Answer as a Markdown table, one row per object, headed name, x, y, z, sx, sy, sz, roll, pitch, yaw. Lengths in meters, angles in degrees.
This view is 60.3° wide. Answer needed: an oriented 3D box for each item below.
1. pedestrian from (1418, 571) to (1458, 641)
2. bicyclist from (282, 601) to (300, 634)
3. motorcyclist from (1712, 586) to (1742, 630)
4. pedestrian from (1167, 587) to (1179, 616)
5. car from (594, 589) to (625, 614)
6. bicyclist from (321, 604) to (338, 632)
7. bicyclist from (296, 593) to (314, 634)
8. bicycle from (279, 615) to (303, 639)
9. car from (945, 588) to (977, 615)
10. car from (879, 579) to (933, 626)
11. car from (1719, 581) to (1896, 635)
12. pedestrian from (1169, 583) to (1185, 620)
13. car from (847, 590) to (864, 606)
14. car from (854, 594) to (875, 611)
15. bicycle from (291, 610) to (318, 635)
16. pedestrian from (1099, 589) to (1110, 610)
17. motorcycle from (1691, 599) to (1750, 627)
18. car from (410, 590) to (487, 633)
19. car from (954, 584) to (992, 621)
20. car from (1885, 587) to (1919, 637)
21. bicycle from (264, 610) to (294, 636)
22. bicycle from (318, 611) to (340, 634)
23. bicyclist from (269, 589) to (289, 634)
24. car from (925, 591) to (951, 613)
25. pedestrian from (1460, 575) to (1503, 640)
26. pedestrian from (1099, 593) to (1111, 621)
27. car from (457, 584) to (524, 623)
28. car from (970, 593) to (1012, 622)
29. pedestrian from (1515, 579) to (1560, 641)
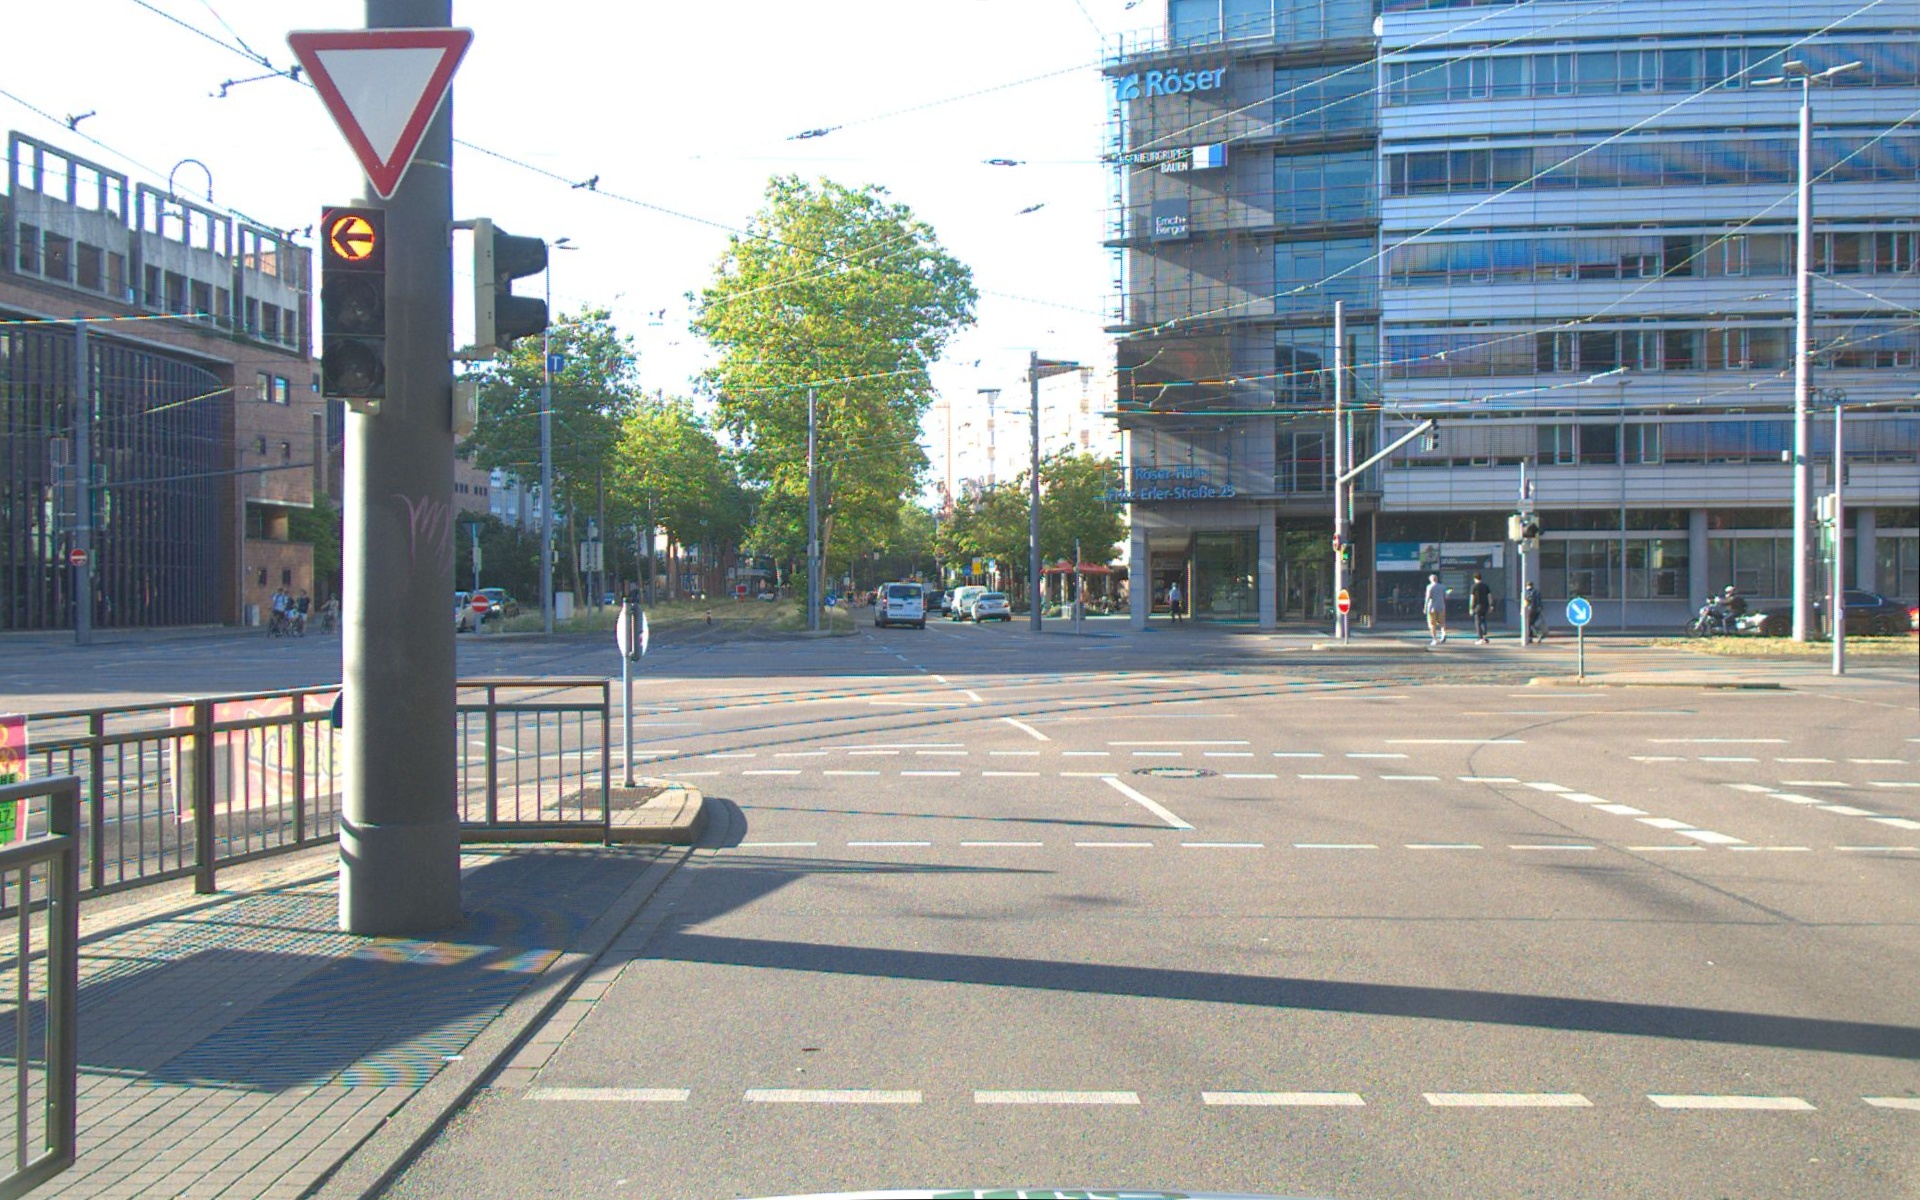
| name | x | y | z | sx | sy | sz | roll | pitch | yaw |
| --- | --- | --- | --- | --- | --- | --- | --- | --- | --- |
| pedestrian | 12.661 | 0.152 | 43.837 | 0.845 | 1.820 | 0.872 | -1 | 0 | 5 |
| bicyclist | -27.642 | 0.720 | 68.345 | 0.495 | 1.327 | 0.581 | -1 | 0 | -1 |
| motorcyclist | 23.099 | 0.232 | 49.809 | 0.697 | 1.298 | 0.460 | -1 | 0 | 3 |
| pedestrian | 11.311 | 0.072 | 87.947 | 0.599 | 1.534 | 0.579 | -1 | 0 | 7 |
| car | -29.715 | 0.085 | 140.478 | 1.954 | 2.049 | 3.997 | -1 | 0 | -3 |
| bicyclist | -27.101 | 0.761 | 71.101 | 0.495 | 1.199 | 0.581 | -1 | 0 | -1 |
| bicyclist | -25.904 | 0.528 | 65.394 | 0.449 | 1.631 | 0.581 | -1 | 0 | -1 |
| bicycle | -27.635 | 1.111 | 68.297 | 0.458 | 0.980 | 1.320 | -1 | 0 | -1 |
| car | 0.032 | 0.073 | 105.206 | 1.953 | 1.646 | 3.999 | -1 | 0 | -1 |
| car | -2.197 | 0.079 | 69.089 | 1.920 | 1.881 | 5.331 | -1 | 0 | 1 |
| car | 24.031 | 0.225 | 47.008 | 4.070 | 1.423 | 1.786 | -1 | 0 | 4 |
| pedestrian | 8.961 | 0.053 | 68.312 | 0.599 | 1.534 | 0.579 | -1 | 0 | 7 |
| car | -12.970 | -0.257 | 205.067 | 1.953 | 2.049 | 3.999 | -1 | 0 | -1 |
| car | -8.425 | 0.199 | 146.771 | 1.762 | 1.467 | 3.998 | 1 | 0 | -3 |
| bicycle | -25.942 | 0.881 | 65.445 | 0.463 | 0.980 | 1.575 | -1 | 0 | -1 |
| pedestrian | 9.299 | -0.019 | 106.348 | 0.565 | 1.311 | 0.910 | -1 | 0 | -1 |
| motorcycle | 22.910 | 0.387 | 49.818 | 1.535 | 0.824 | 0.467 | -1 | 0 | 3 |
| car | -20.671 | 0.447 | 67.030 | 1.953 | 1.668 | 3.999 | -1 | 0 | -2 |
| car | 0.683 | 0.119 | 89.569 | 1.953 | 1.892 | 3.999 | -1 | 0 | -1 |
| car | 30.184 | 0.293 | 49.524 | 3.903 | 1.418 | 1.786 | -2 | 0 | 4 |
| bicycle | -26.824 | 0.910 | 65.148 | 0.531 | 0.980 | 1.586 | -1 | 0 | -1 |
| bicycle | -27.123 | 0.966 | 71.132 | 0.442 | 0.980 | 1.347 | -1 | 0 | -1 |
| bicyclist | -26.818 | 0.444 | 65.116 | 0.525 | 1.761 | 0.581 | -1 | 0 | -1 |
| car | -1.684 | 0.134 | 126.629 | 1.953 | 1.646 | 3.999 | -1 | 0 | -1 |
| pedestrian | 13.909 | 0.191 | 44.128 | 0.893 | 1.714 | 1.036 | -1 | 0 | 6 |
| pedestrian | 9.221 | 0.450 | 105.136 | 0.729 | 1.744 | 0.612 | -1 | 0 | -1 |
| car | -21.125 | 0.147 | 74.589 | 1.953 | 1.668 | 3.999 | -1 | 0 | -2 |
| car | 1.532 | 0.339 | 82.783 | 1.953 | 1.400 | 3.999 | -1 | 0 | -1 |
| pedestrian | 15.049 | 0.246 | 43.122 | 0.928 | 1.591 | 0.897 | -1 | 0 | 6 |
